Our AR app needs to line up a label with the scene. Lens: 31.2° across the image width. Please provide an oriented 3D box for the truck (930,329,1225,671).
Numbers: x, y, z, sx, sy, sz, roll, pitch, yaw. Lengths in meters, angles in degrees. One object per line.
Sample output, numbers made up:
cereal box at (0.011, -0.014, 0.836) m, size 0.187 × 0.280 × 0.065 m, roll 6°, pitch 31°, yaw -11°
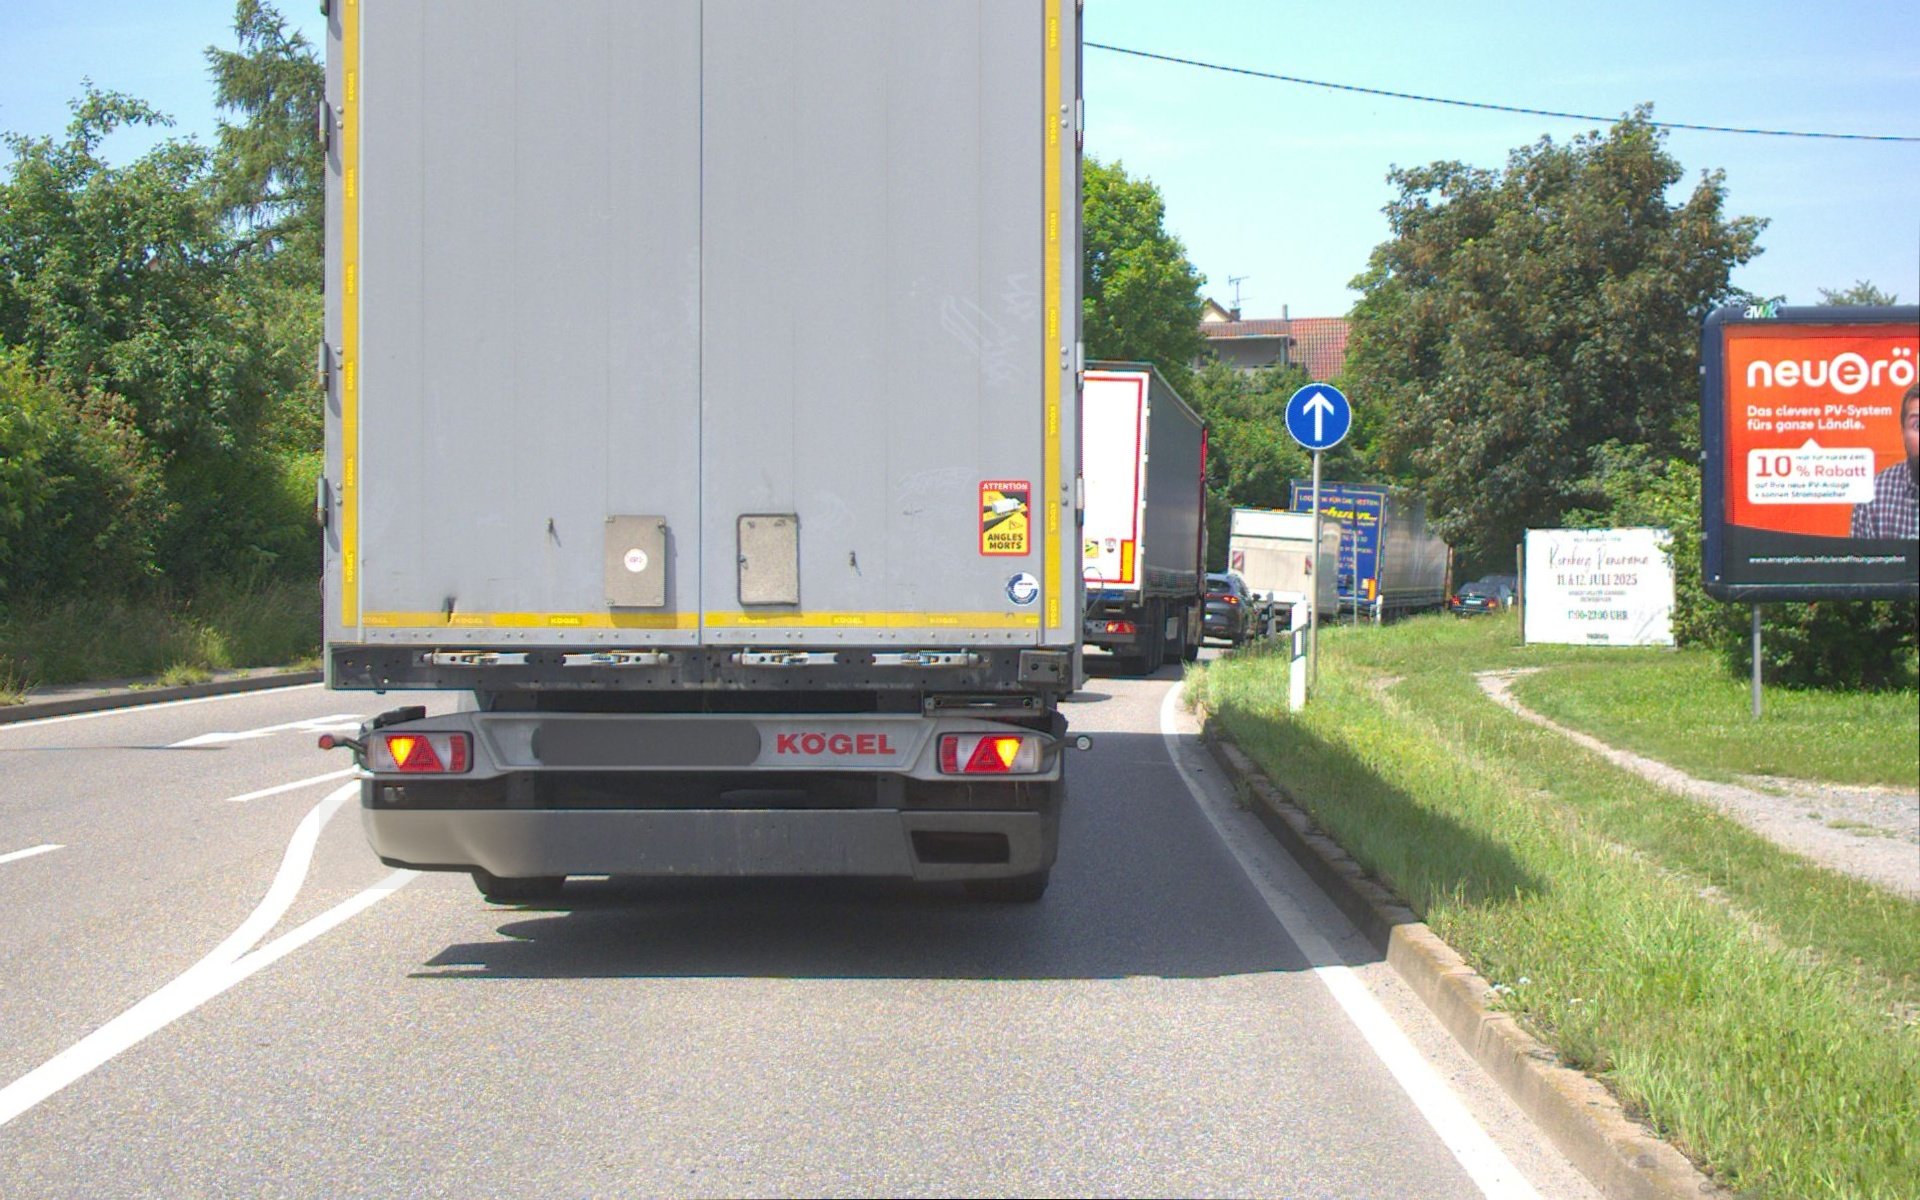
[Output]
truck at (2.096, -1.289, 51.449) m, size 2.761 × 4.274 × 16.410 m, roll 1°, pitch 0°, yaw 8°

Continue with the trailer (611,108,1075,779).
trailer at (-0.636, -1.027, 24.336) m, size 2.825 × 4.097 × 6.544 m, roll 0°, pitch 1°, yaw 1°

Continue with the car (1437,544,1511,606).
car at (17.309, -0.832, 115.664) m, size 1.995 × 2.007 × 3.997 m, roll 1°, pitch 0°, yaw 15°

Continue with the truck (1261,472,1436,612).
truck at (10.699, -1.621, 93.742) m, size 3.435 × 3.592 × 9.348 m, roll 1°, pitch 2°, yaw 15°

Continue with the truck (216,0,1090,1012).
truck at (-0.843, -0.856, 16.928) m, size 2.822 × 4.113 × 11.443 m, roll 1°, pitch 1°, yaw 2°

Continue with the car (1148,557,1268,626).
car at (5.181, -0.171, 71.462) m, size 1.994 × 1.371 × 3.998 m, roll 1°, pitch 0°, yaw 11°

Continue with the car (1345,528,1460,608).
car at (13.175, -0.970, 102.053) m, size 2.533 × 2.269 × 6.377 m, roll 1°, pitch 1°, yaw 15°

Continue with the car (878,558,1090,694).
car at (0.308, 0.258, 36.607) m, size 1.819 × 1.342 × 3.846 m, roll 1°, pitch 0°, yaw 7°

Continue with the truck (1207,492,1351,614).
truck at (7.705, -1.094, 82.360) m, size 2.545 × 2.793 × 6.028 m, roll 1°, pitch 0°, yaw 14°
